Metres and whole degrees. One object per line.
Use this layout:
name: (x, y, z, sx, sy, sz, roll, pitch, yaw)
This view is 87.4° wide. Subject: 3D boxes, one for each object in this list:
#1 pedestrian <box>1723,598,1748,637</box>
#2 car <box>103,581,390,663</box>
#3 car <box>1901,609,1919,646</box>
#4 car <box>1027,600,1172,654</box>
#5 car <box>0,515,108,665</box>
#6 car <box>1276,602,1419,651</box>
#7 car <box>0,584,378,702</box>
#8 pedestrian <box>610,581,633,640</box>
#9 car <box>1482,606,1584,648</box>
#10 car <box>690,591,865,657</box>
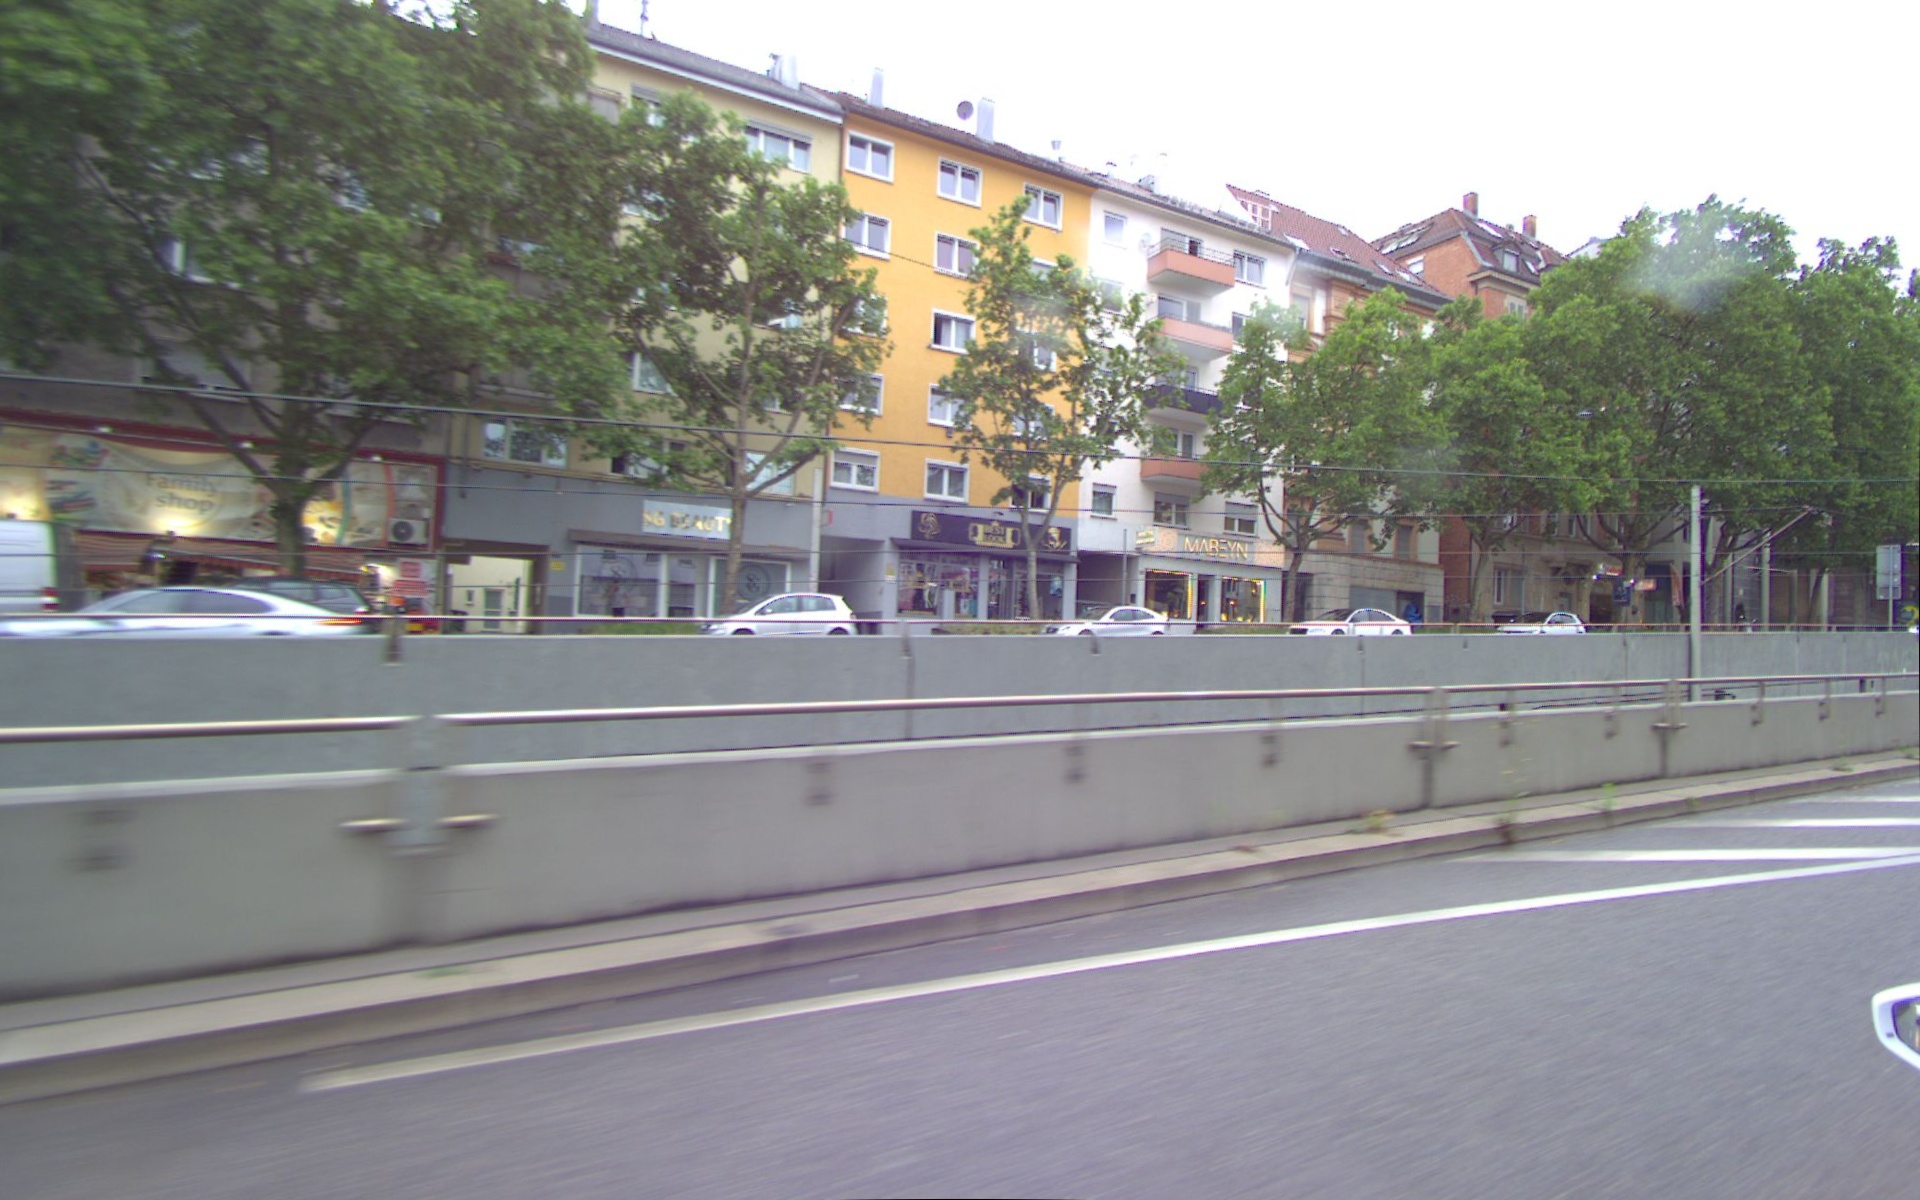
pedestrian: (41.561, 0.950, 53.834, 0.923, 2.040, 0.666, 2, 0, -27)
car: (-14.459, 0.447, 20.738, 4.614, 1.530, 1.786, 1, 0, -29)
car: (51.144, 1.465, 52.106, 4.906, 1.877, 1.948, 1, 0, -28)
car: (4.295, 0.806, 30.731, 4.155, 1.530, 1.787, 1, 0, -28)
car: (-19.969, -0.228, 17.935, 6.846, 2.698, 2.442, 1, 0, -29)
car: (13.846, 0.926, 35.839, 5.136, 1.622, 1.918, 1, 0, -29)
car: (-11.392, 0.576, 14.751, 4.822, 1.530, 2.018, 1, 0, -28)
pedestrian: (-10.468, 0.316, 31.028, 0.612, 1.772, 0.522, 2, 2, -21)
car: (23.333, 1.094, 40.891, 4.063, 1.633, 1.786, 1, 0, -30)
car: (-4.761, 0.609, 26.240, 4.155, 1.592, 1.787, 1, 0, -28)
